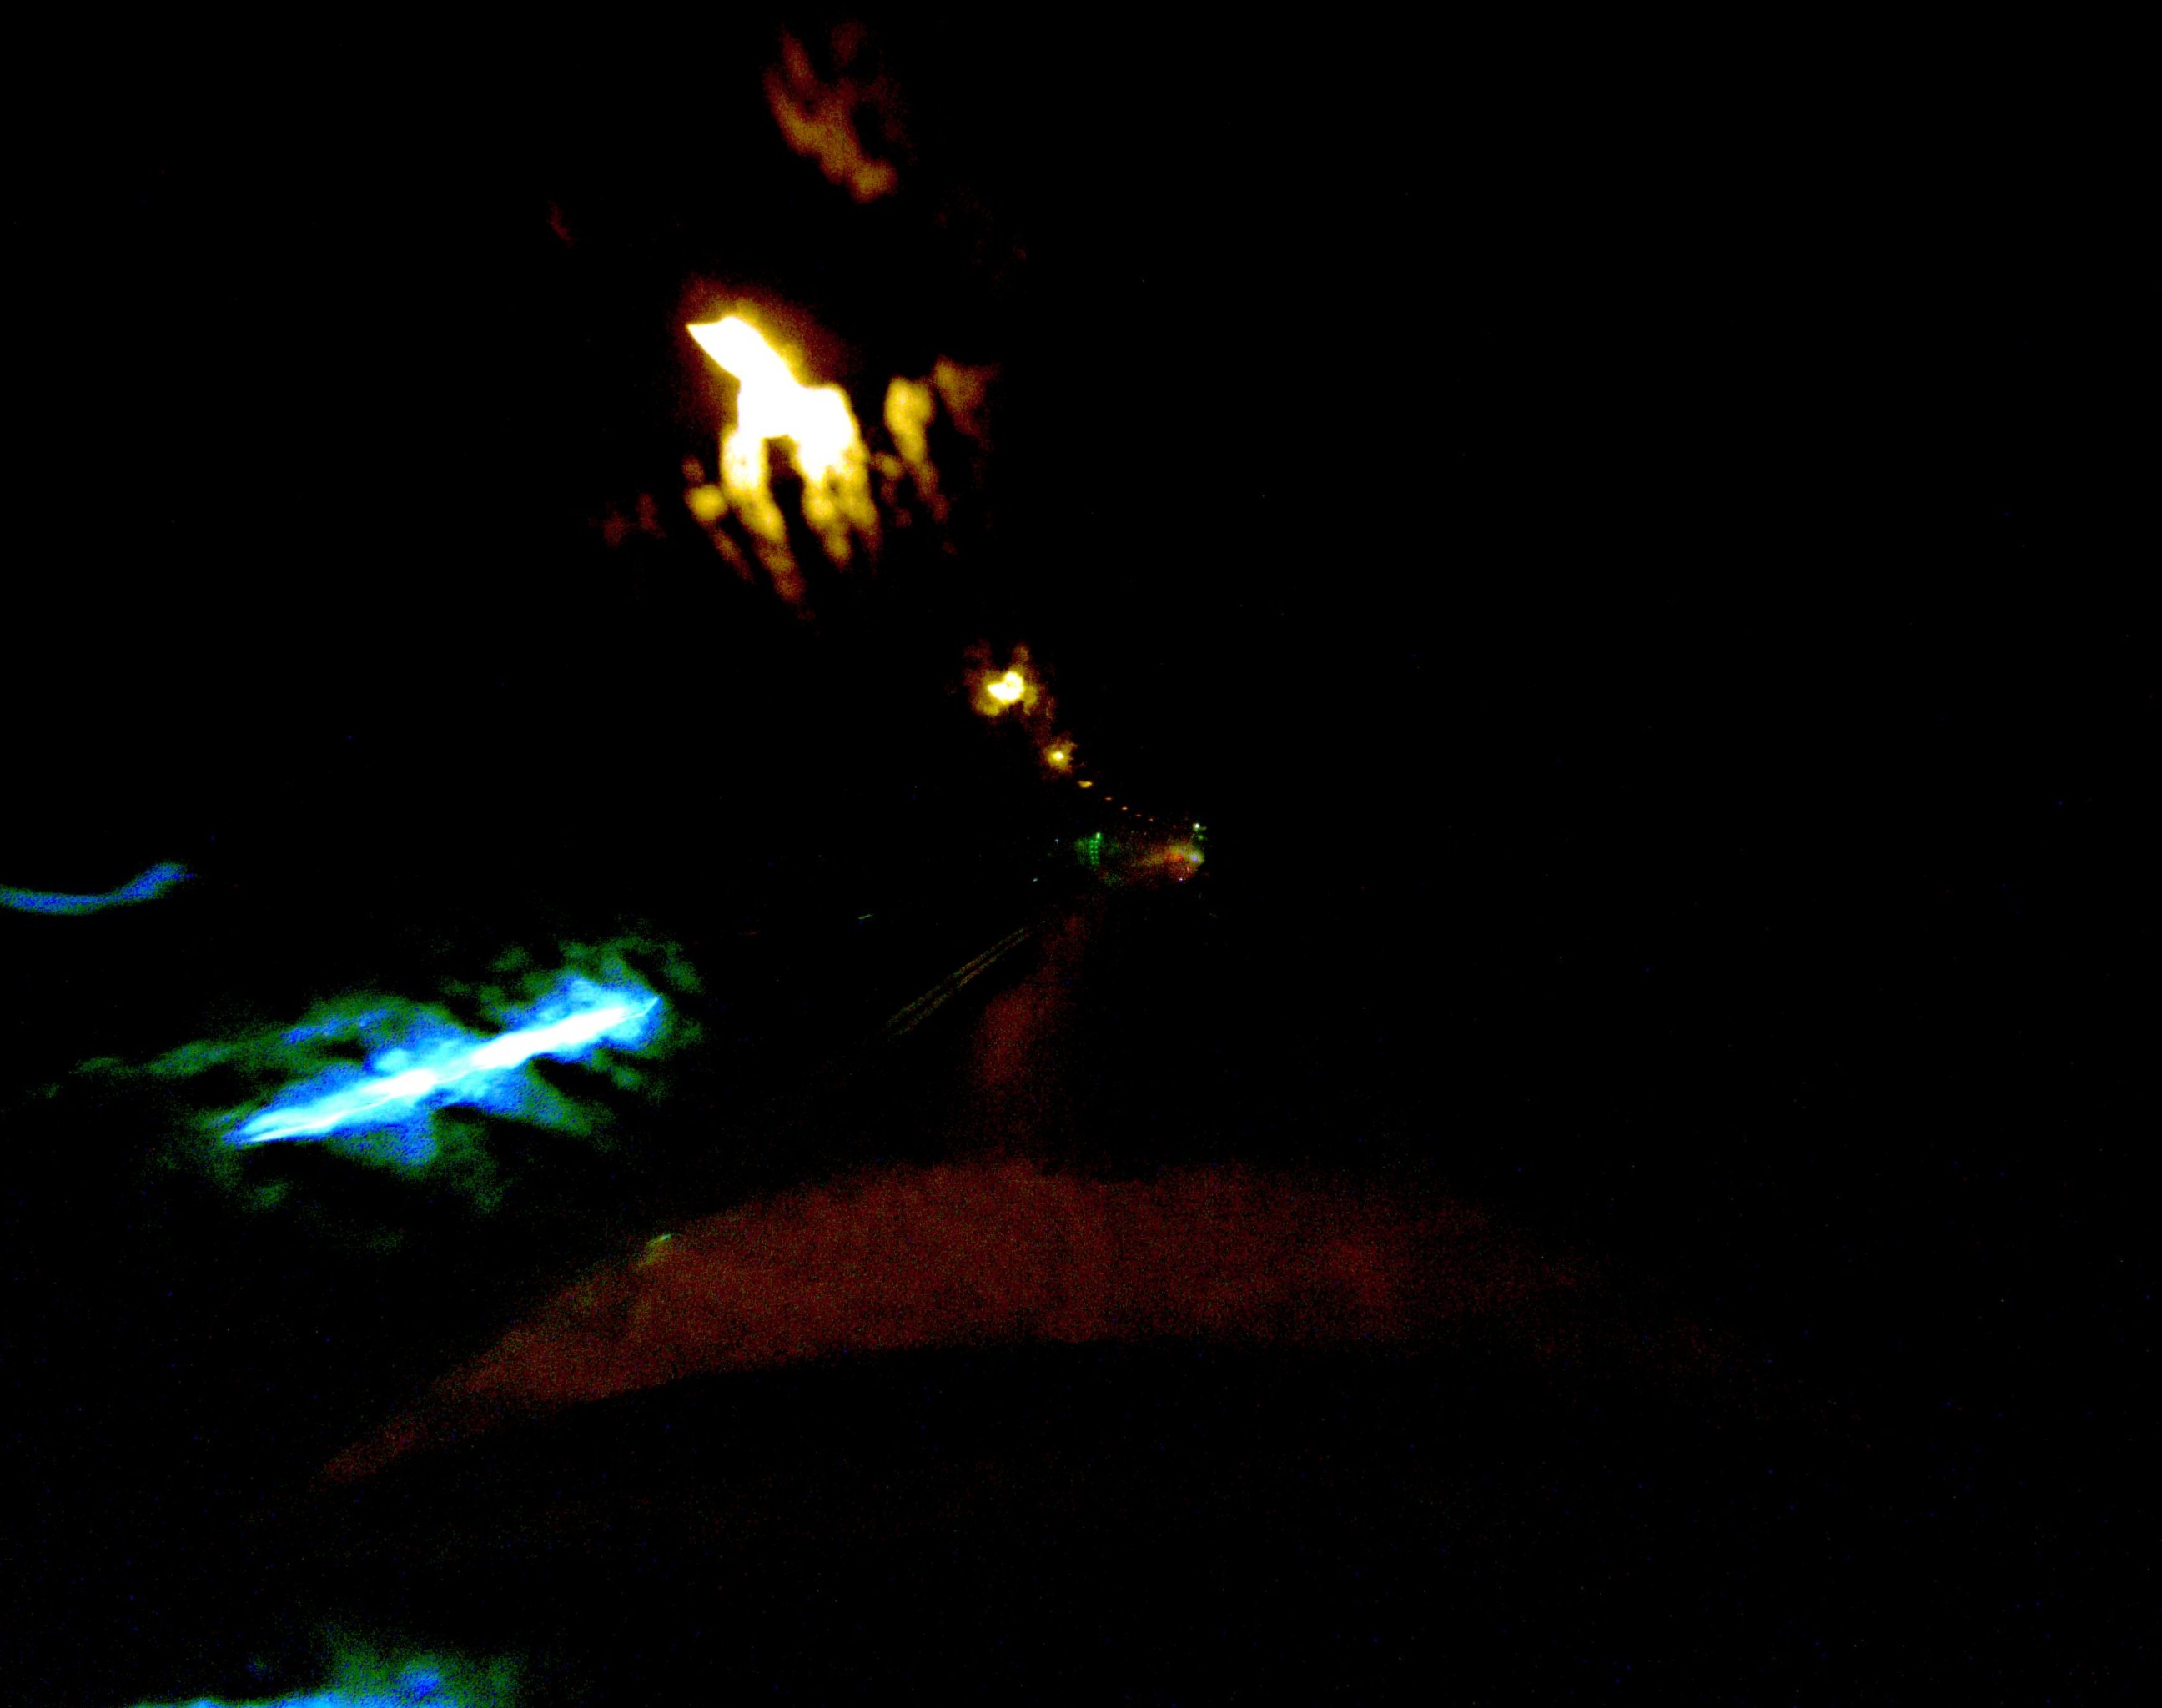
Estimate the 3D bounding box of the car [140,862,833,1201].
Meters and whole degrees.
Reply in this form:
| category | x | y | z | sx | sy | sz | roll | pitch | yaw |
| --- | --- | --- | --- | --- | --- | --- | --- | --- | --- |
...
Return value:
| category | x | y | z | sx | sy | sz | roll | pitch | yaw |
| --- | --- | --- | --- | --- | --- | --- | --- | --- | --- |
| car | -3.162 | 0.783 | 5.487 | 1.623 | 1.397 | 4.002 | -1 | 0 | 2 |

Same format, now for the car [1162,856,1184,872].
| category | x | y | z | sx | sy | sz | roll | pitch | yaw |
| --- | --- | --- | --- | --- | --- | --- | --- | --- | --- |
| car | 9.653 | 1.041 | 85.053 | 1.981 | 1.650 | 4.012 | -1 | 0 | 10 |
